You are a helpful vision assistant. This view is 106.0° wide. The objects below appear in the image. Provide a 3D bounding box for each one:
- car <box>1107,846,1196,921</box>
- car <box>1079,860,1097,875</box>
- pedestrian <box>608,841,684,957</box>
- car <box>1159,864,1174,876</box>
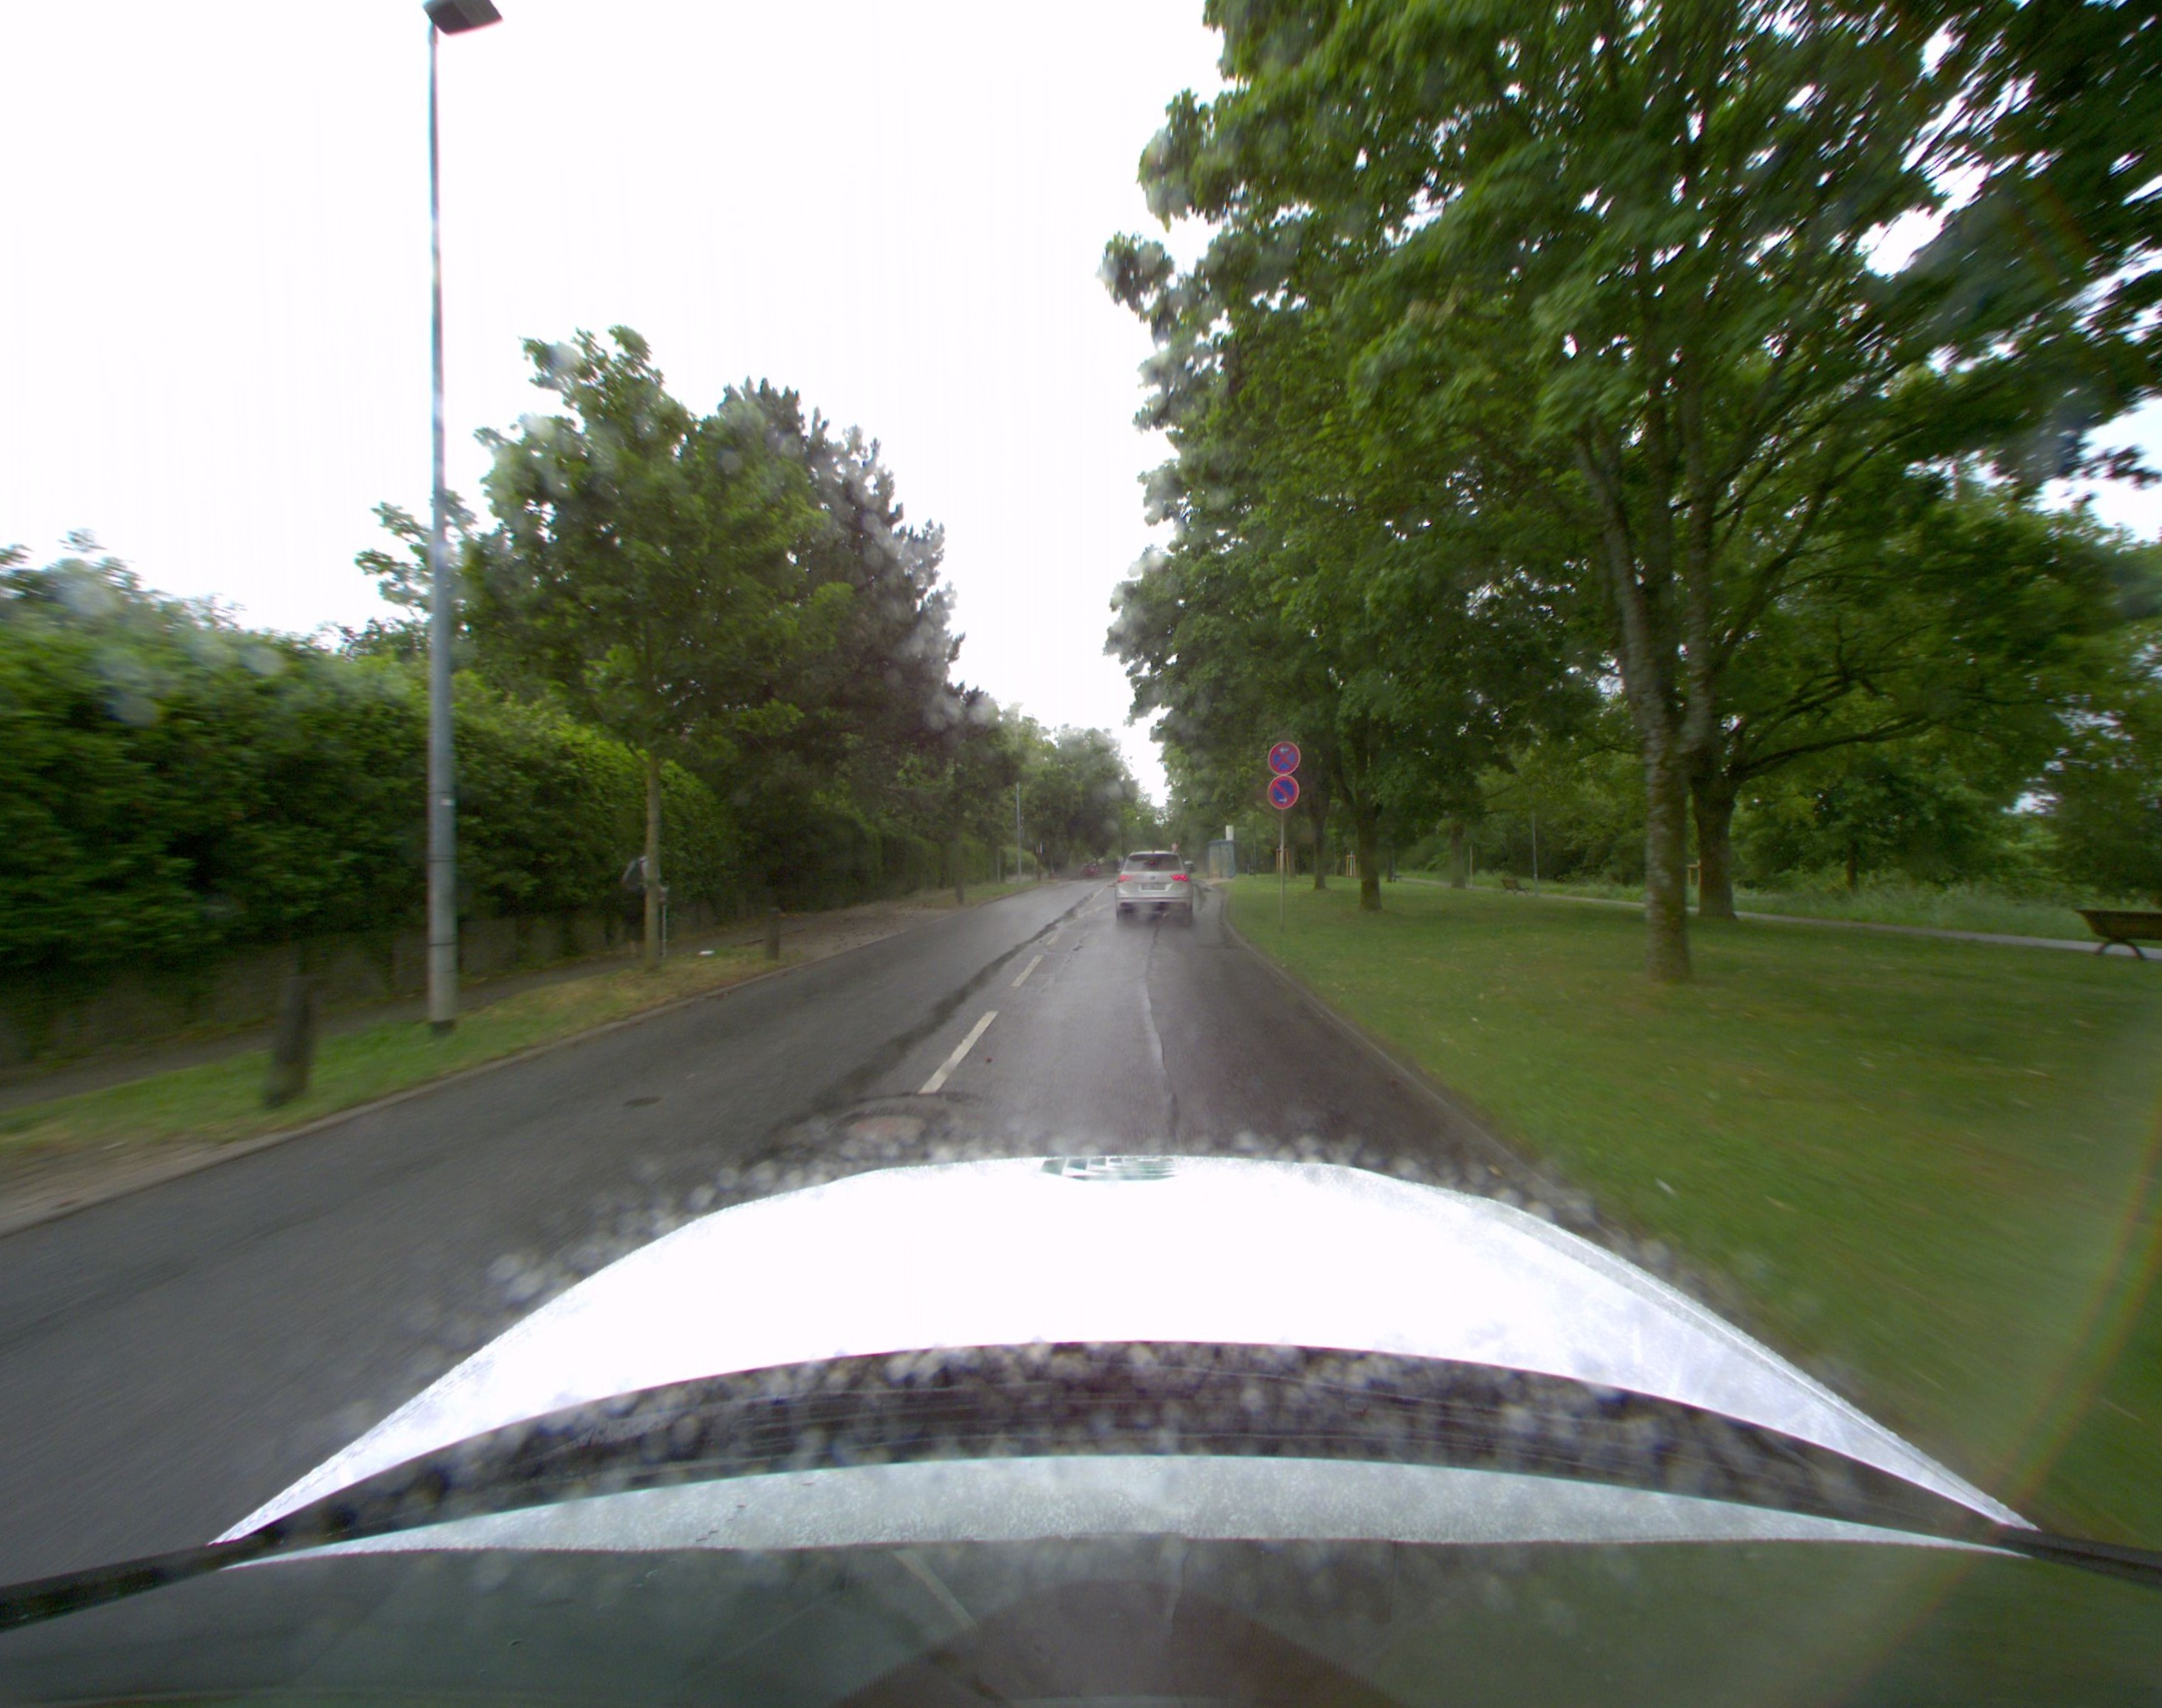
[{"bbox_3d":[1.807,0.681,20.430,1.964,1.653,4.184,-1,0,6],"label":"car"},{"bbox_3d":[0.830,1.632,96.703,1.986,1.763,4.002,0,-2,2],"label":"car"},{"bbox_3d":[-6.484,0.649,12.182,0.777,1.662,0.840,0,0,-11],"label":"pedestrian"},{"bbox_3d":[13.182,2.541,126.153,1.986,1.805,4.001,0,-2,2],"label":"car"}]
